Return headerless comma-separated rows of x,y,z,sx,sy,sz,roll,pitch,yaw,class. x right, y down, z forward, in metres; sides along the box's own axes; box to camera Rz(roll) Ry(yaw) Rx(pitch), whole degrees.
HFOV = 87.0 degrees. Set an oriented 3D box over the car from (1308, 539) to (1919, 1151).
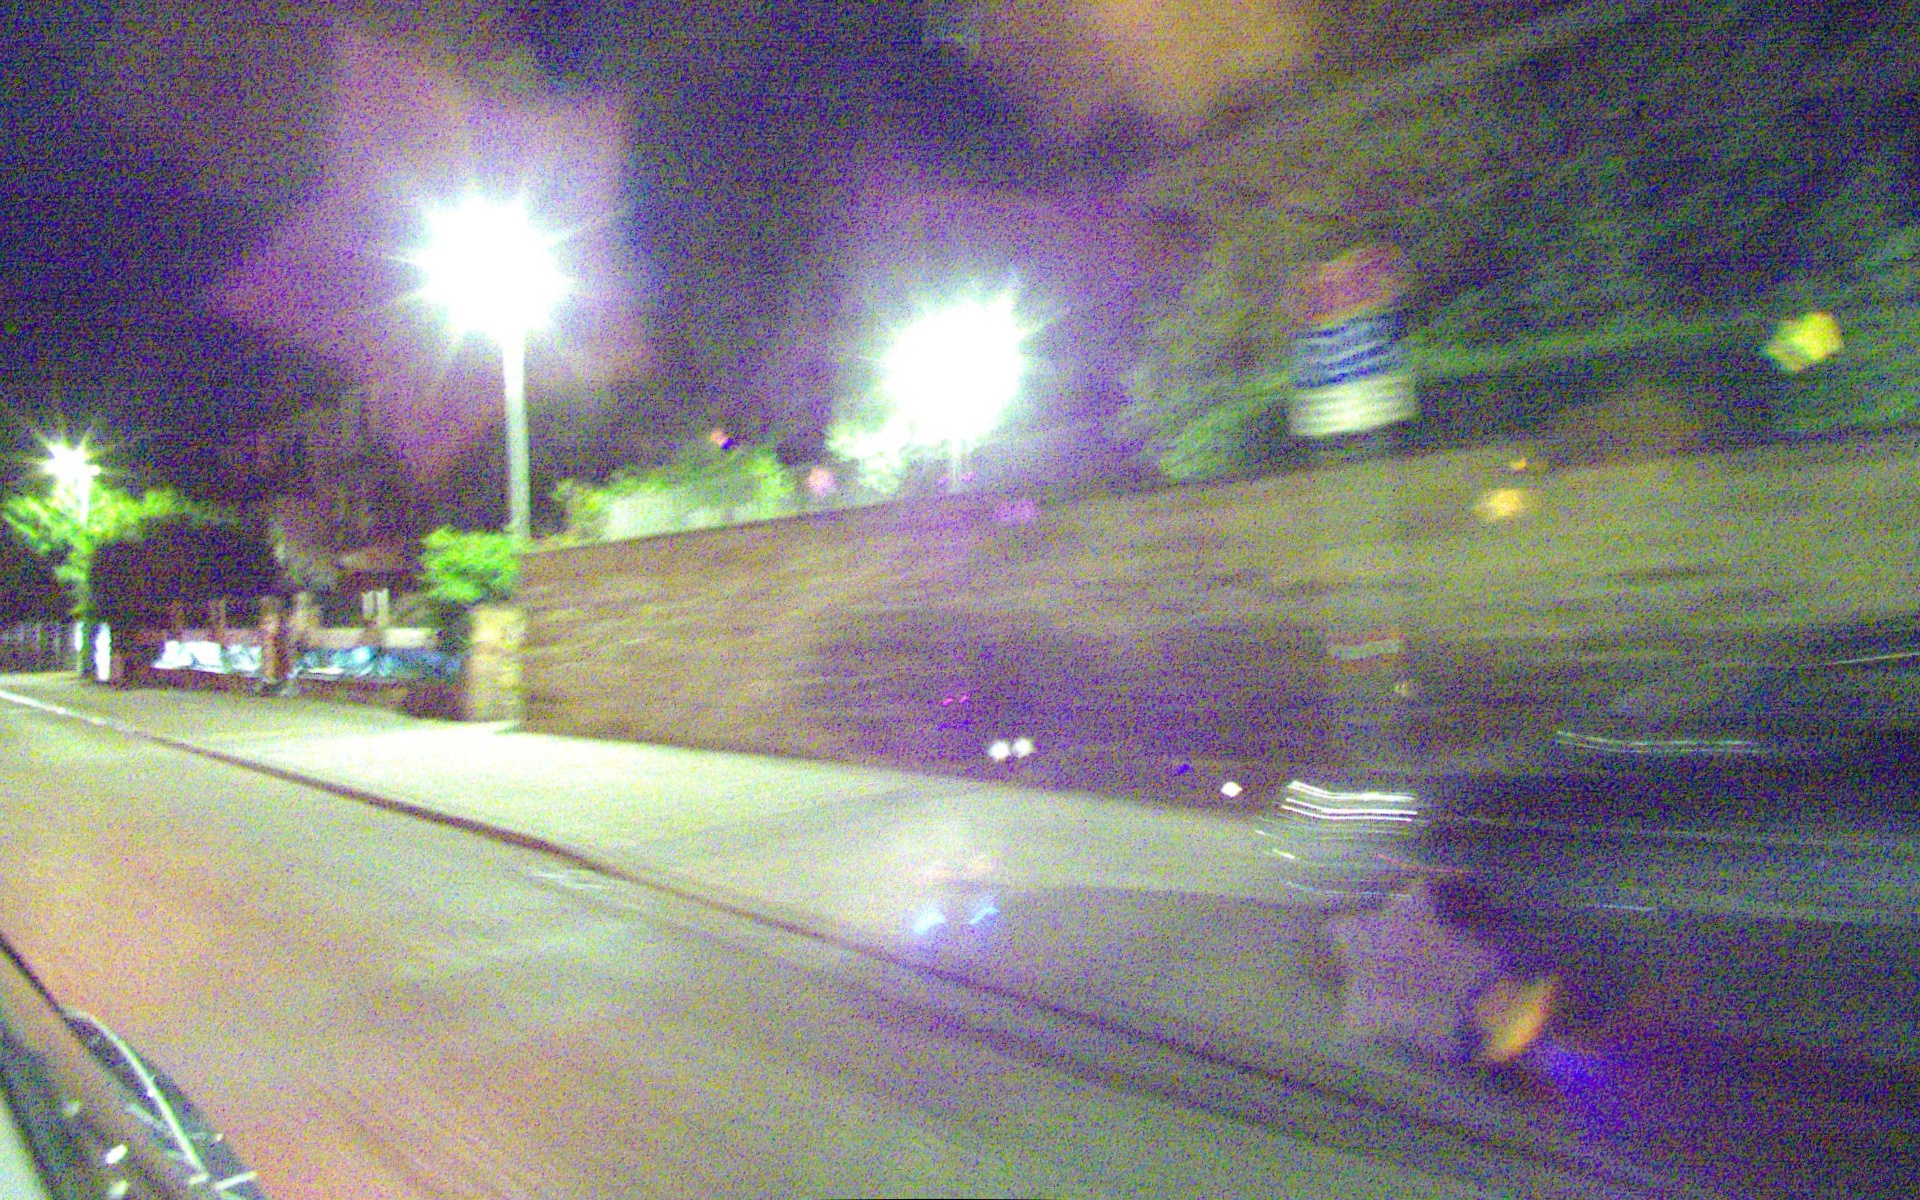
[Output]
3.156,0.616,3.004,3.688,1.535,1.675,0,0,40,car
